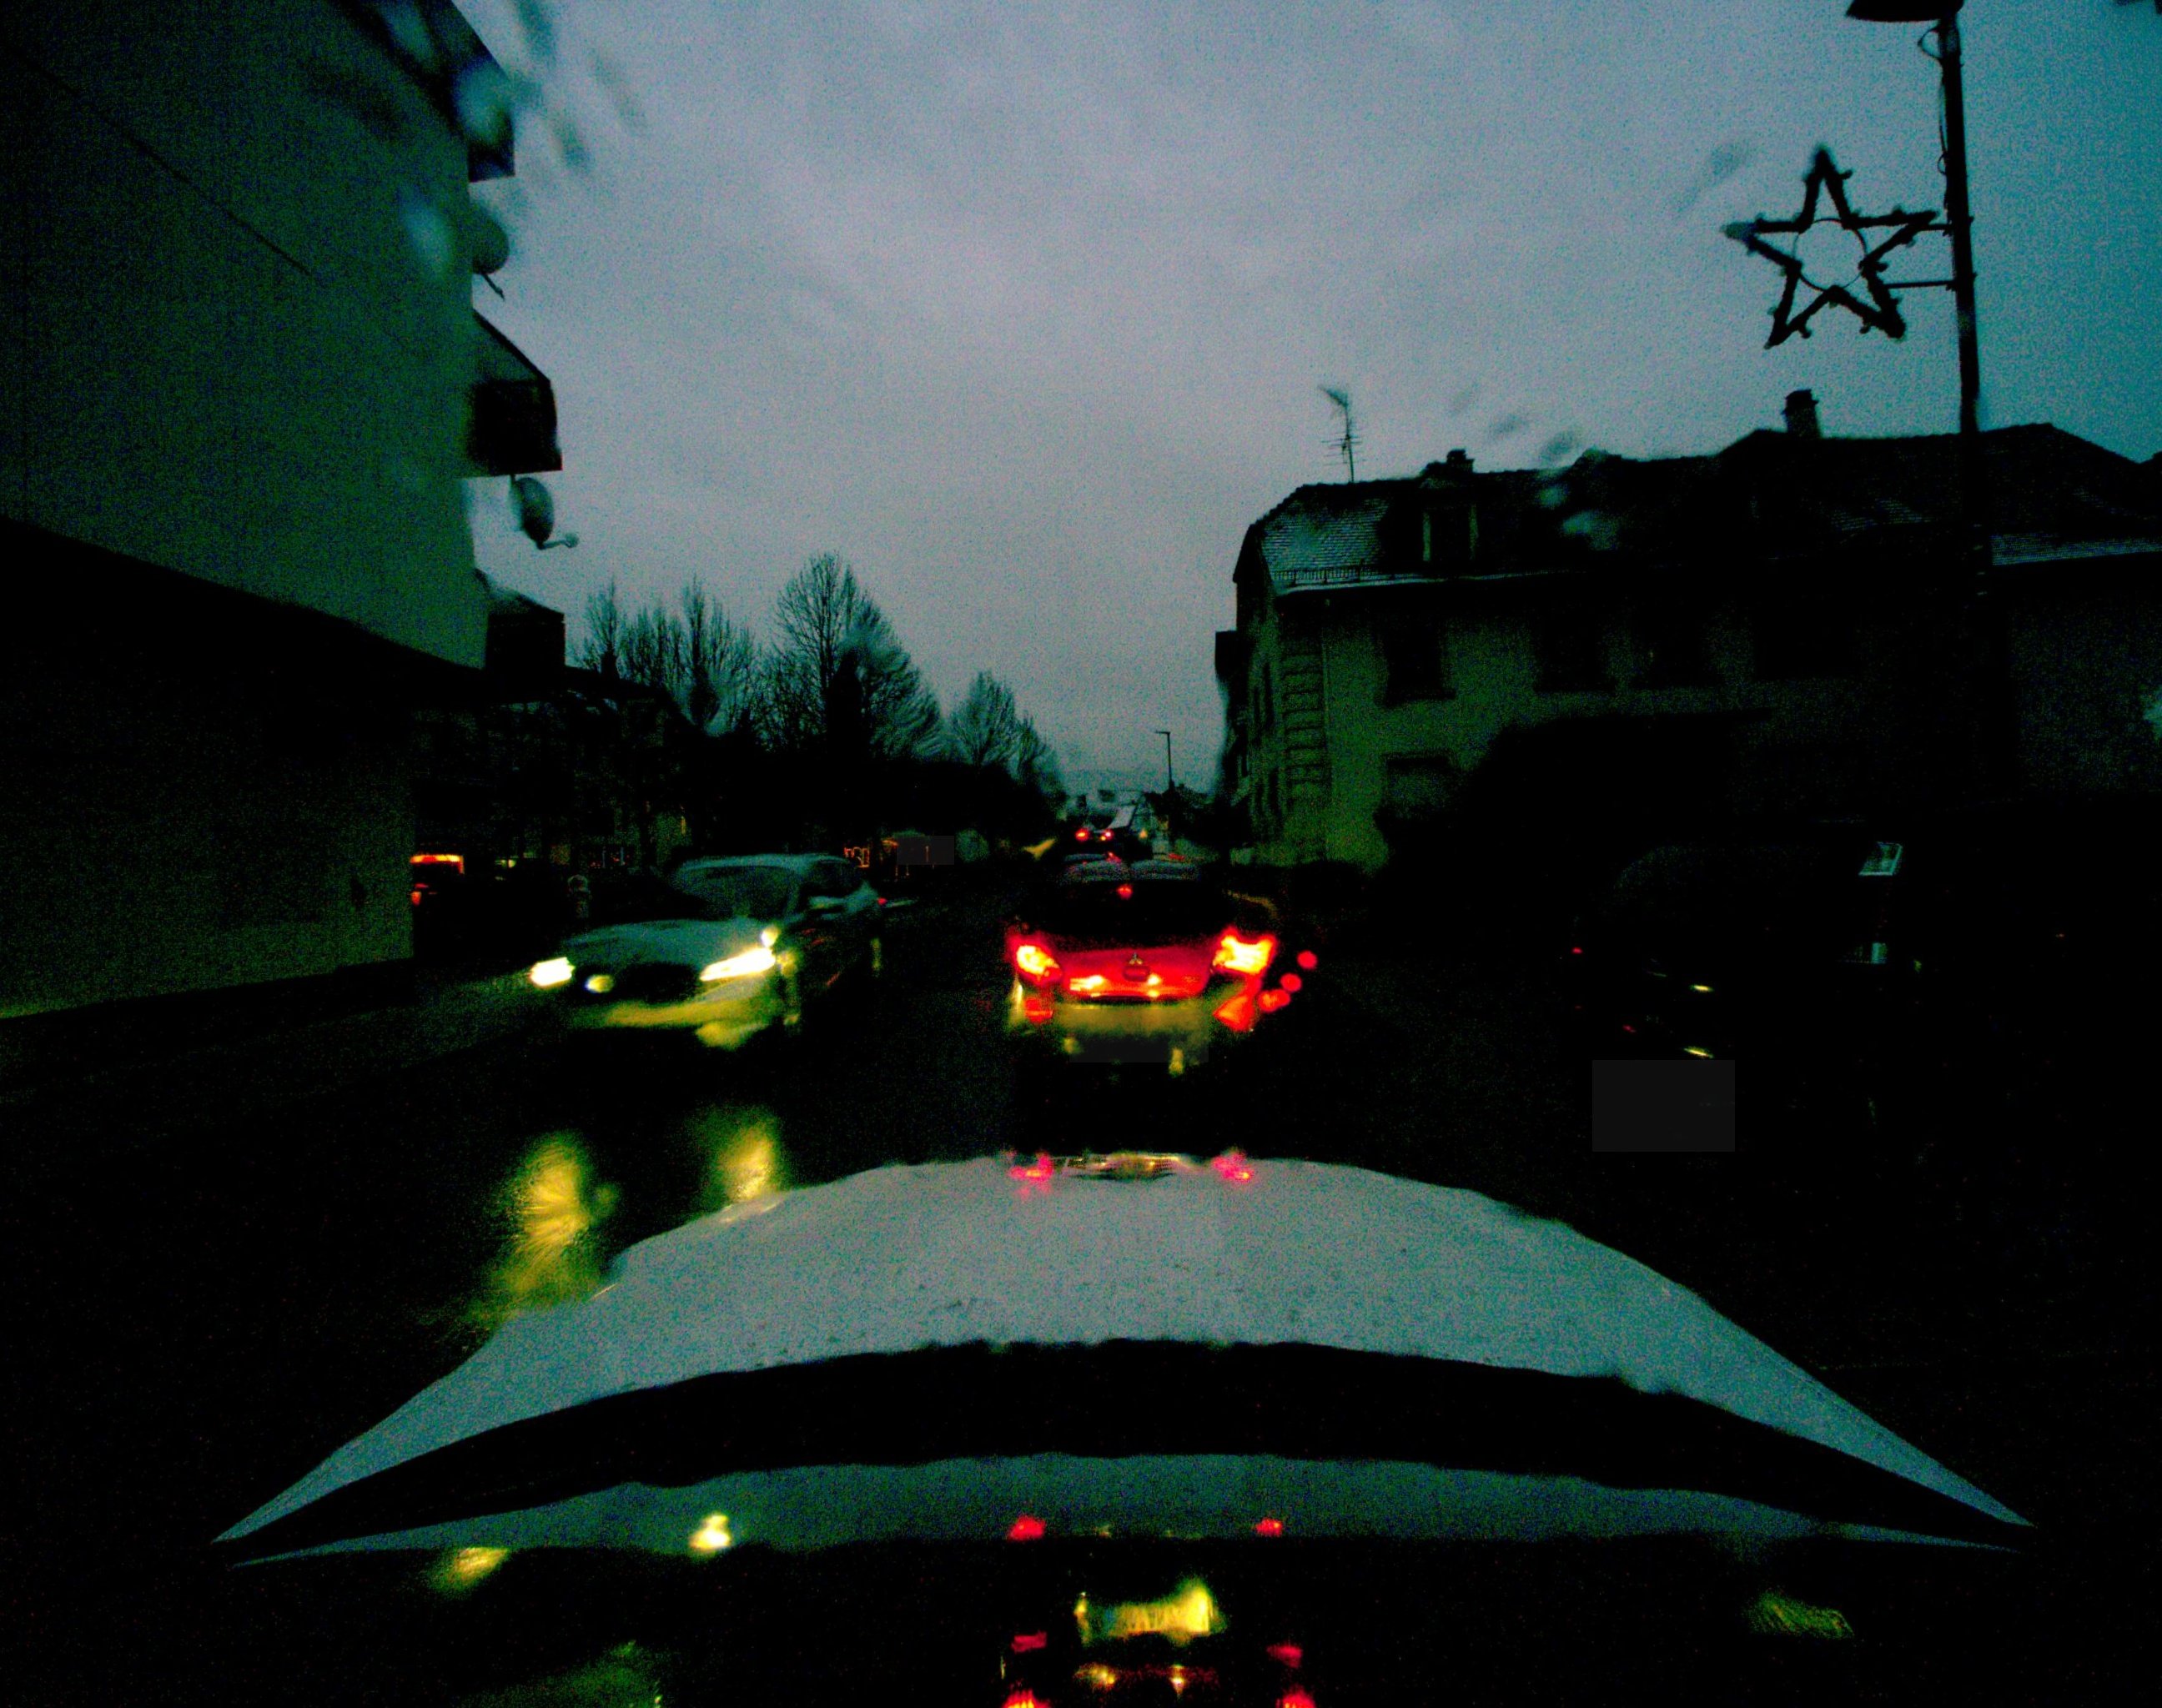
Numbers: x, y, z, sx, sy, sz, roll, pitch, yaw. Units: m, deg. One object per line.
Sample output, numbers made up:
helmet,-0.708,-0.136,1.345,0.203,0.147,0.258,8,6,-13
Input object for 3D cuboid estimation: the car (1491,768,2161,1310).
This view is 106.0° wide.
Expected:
car,4.086,0.490,3.428,3.862,1.579,1.680,-3,0,-4

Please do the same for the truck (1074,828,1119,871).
truck,1.332,-0.351,63.306,3.002,3.128,8.010,-1,0,4

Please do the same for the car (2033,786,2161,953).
car,12.129,0.049,7.631,3.972,1.570,2.000,-3,-1,1

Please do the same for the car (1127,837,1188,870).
car,5.439,-0.056,57.443,4.073,2.151,1.918,-2,0,8

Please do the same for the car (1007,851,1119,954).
car,-0.374,0.708,13.741,1.635,1.481,3.266,-1,0,-4

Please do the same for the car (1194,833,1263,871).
car,9.041,-0.114,50.031,4.073,2.151,1.918,-2,0,8

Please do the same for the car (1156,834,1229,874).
car,6.569,-0.008,47.822,4.073,2.163,1.918,-2,0,8

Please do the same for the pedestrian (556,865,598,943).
pedestrian,-9.901,0.960,15.986,0.653,1.458,0.643,-1,0,-35

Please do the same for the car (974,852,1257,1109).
car,0.256,0.746,6.471,1.632,1.481,3.380,-1,0,2

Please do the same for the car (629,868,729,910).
car,-18.173,1.589,36.839,3.953,1.730,1.829,-2,0,21

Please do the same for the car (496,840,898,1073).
car,-3.215,0.713,7.986,1.805,1.596,4.398,-2,0,0

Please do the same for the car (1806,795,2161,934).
car,12.343,0.095,10.600,3.971,1.524,1.938,-3,-1,2

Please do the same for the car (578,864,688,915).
car,-18.725,1.497,34.054,3.953,1.988,1.829,-2,0,21
